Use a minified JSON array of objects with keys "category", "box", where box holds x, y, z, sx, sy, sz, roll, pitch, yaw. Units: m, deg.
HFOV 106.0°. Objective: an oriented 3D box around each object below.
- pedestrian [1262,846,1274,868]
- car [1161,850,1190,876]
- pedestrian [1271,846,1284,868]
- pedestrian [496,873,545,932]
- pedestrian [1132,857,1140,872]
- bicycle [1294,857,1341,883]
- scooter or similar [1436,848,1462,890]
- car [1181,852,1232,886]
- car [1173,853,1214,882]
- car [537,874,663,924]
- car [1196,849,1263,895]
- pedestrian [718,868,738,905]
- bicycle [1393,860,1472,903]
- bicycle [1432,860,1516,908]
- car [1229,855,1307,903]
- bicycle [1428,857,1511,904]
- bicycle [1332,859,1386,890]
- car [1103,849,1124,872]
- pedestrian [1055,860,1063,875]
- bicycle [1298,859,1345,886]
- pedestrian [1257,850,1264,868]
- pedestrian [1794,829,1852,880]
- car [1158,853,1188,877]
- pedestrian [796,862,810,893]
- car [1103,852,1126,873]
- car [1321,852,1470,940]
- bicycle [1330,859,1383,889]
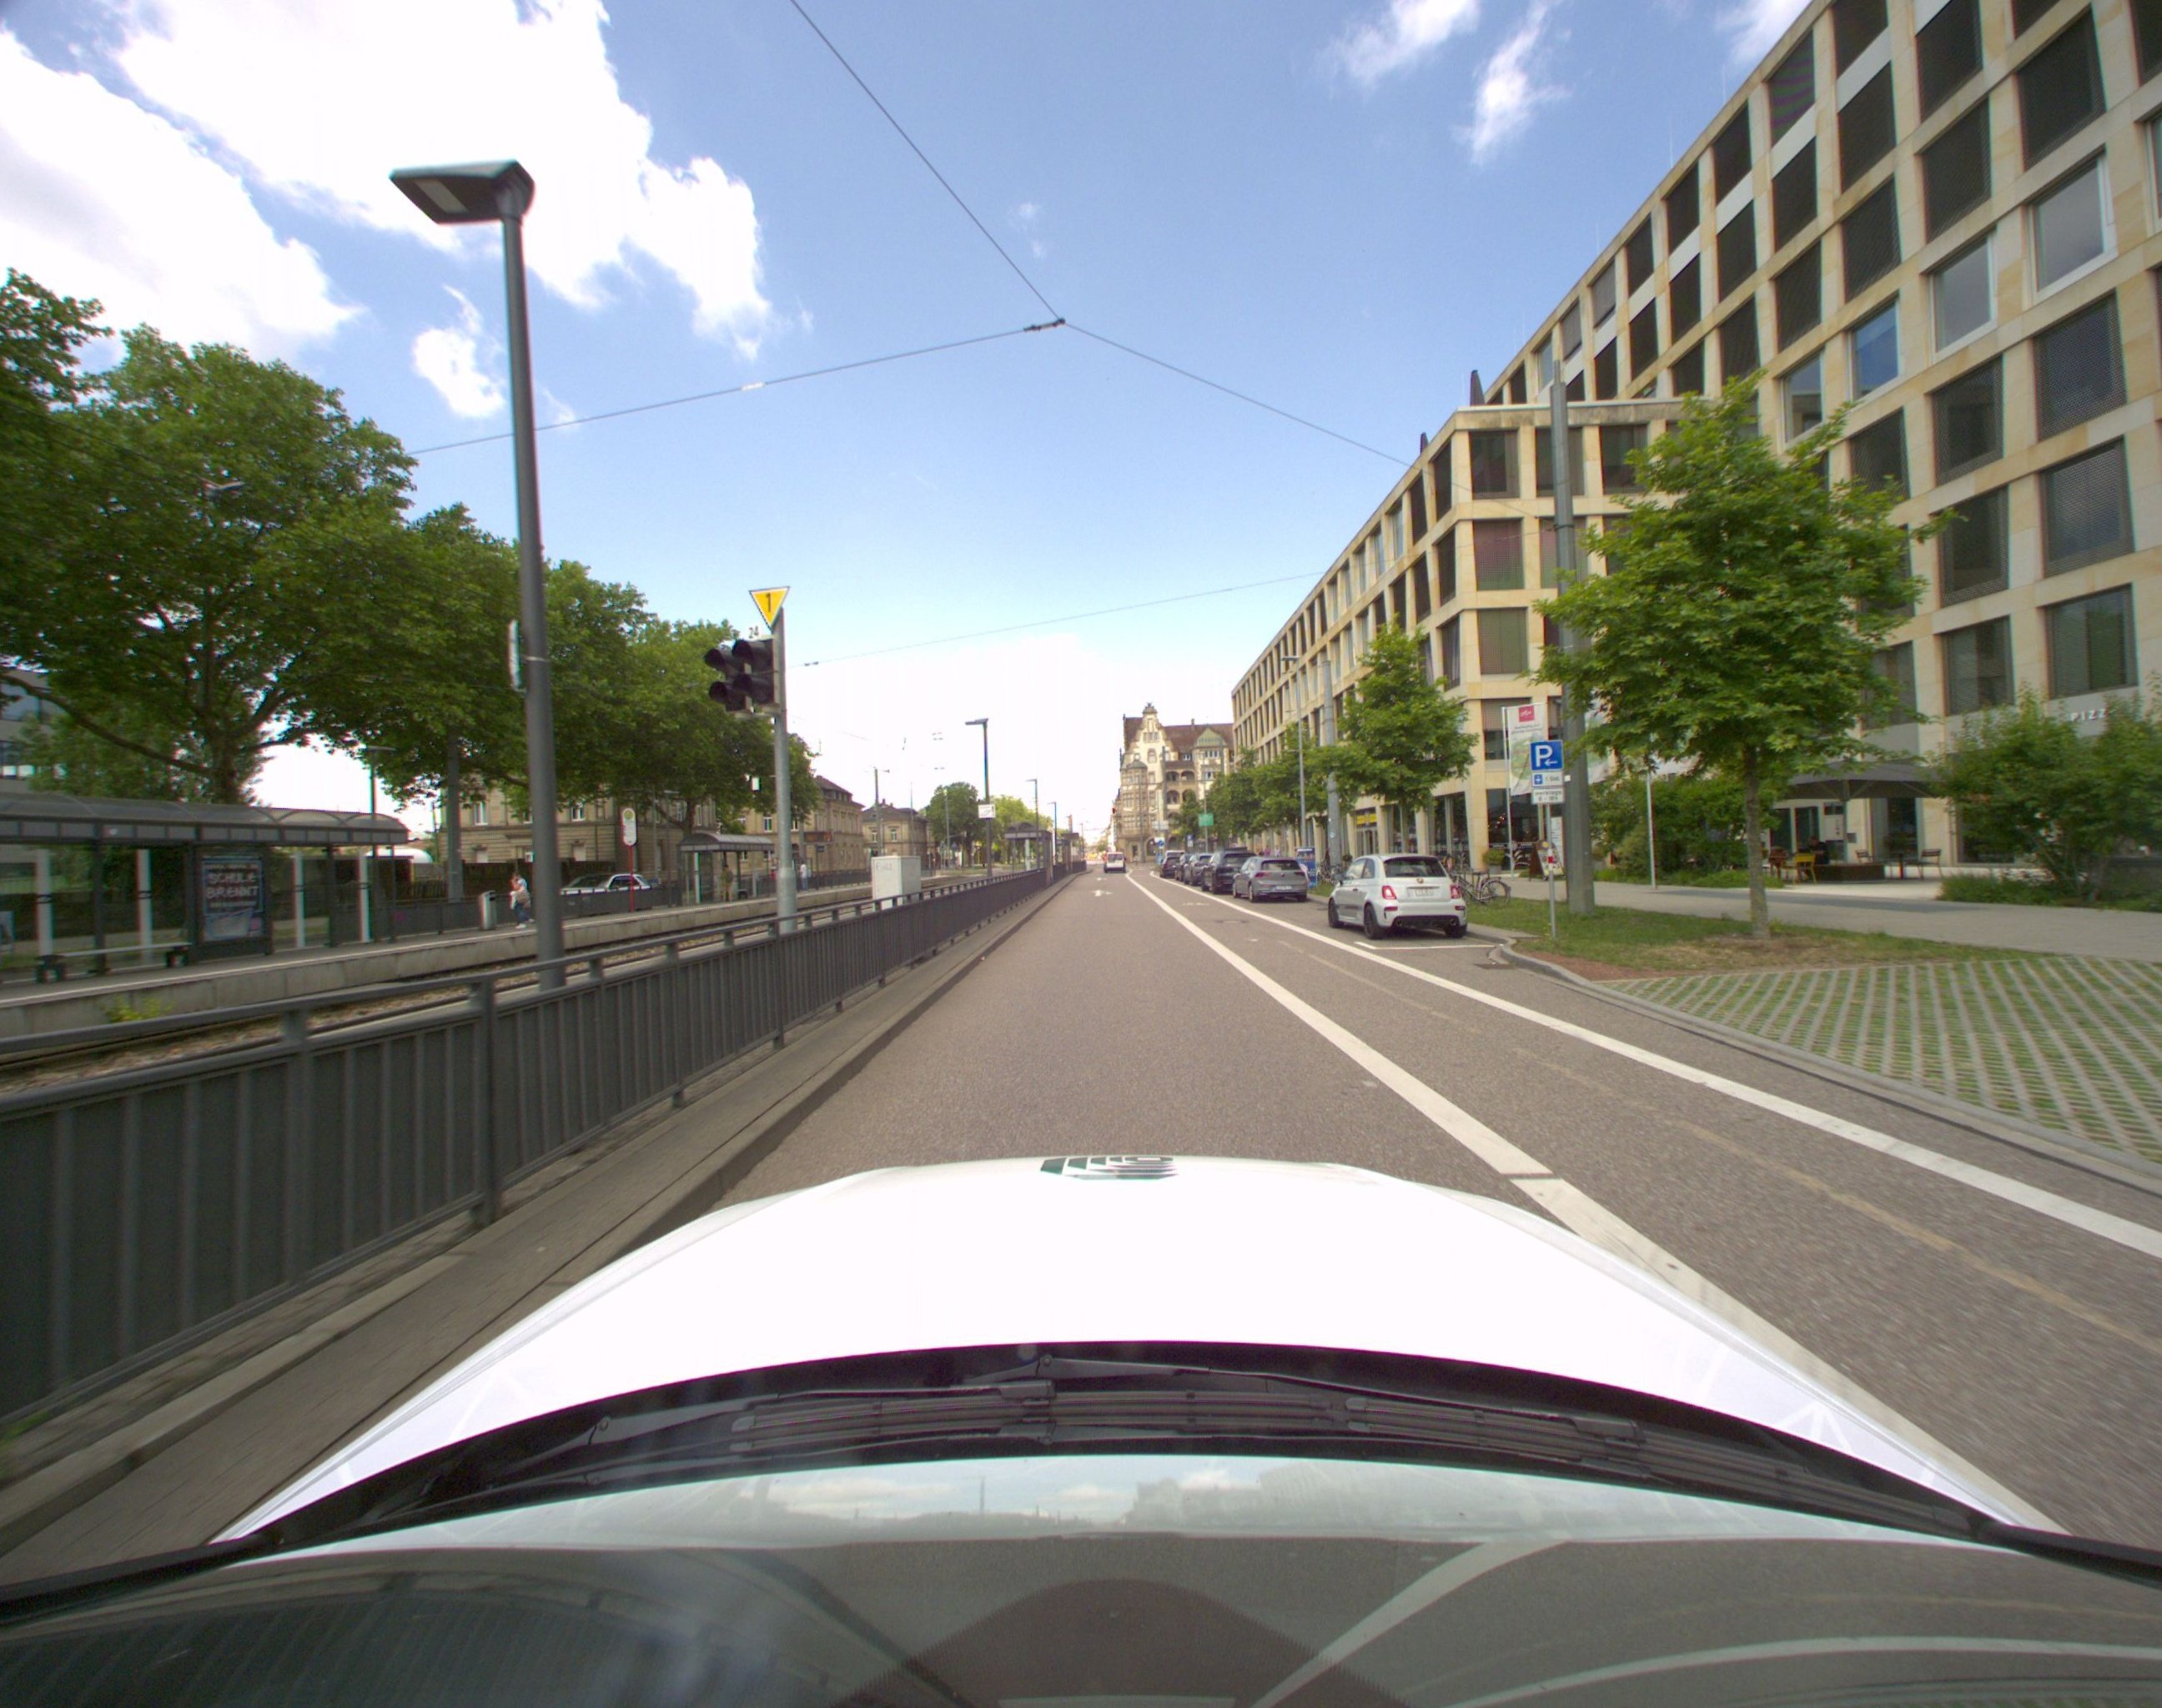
[{"category":"pedestrian","box":[14.738,0.228,64.189,0.757,1.723,0.659,-2,0,0]},{"category":"car","box":[6.717,0.596,58.235,1.704,1.796,3.361,-1,0,0]},{"category":"pedestrian","box":[15.500,0.232,64.190,0.757,1.670,0.659,-2,0,0]},{"category":"pedestrian","box":[-15.096,1.288,21.964,0.700,1.512,0.802,-3,0,-3]},{"category":"pedestrian","box":[5.989,1.115,88.673,0.803,1.572,0.629,-4,-1,0]},{"category":"bicycle","box":[10.109,0.696,34.780,1.815,1.030,0.585,-3,-1,4]},{"category":"scooter or similar","box":[10.999,0.448,24.352,0.257,1.215,1.015,-2,0,1]},{"category":"car","box":[6.168,0.700,40.520,1.801,1.592,4.839,-1,0,0]},{"category":"car","box":[6.456,0.746,47.161,1.801,1.592,4.306,-1,0,1]},{"category":"car","box":[-18.996,1.722,32.472,1.986,1.705,4.821,-2,-1,1]},{"category":"car","box":[5.779,0.668,32.243,1.732,1.669,4.839,-1,0,0]},{"category":"pedestrian","box":[-15.295,1.409,35.312,0.498,1.558,0.643,-2,0,1]},{"category":"bicycle","box":[9.562,0.734,22.184,1.815,1.076,0.687,-3,-1,5]},{"category":"bicycle","box":[9.505,0.720,19.720,1.815,1.076,0.275,-3,-1,5]},{"category":"car","box":[6.029,0.752,26.637,1.586,1.434,4.106,-1,0,0]},{"category":"bicycle","box":[9.534,0.652,20.017,1.815,1.076,0.275,-3,-1,5]},{"category":"bicycle","box":[9.845,0.724,28.829,1.746,0.986,0.326,-3,-1,0]},{"category":"car","box":[3.108,0.613,78.045,1.862,2.020,4.001,-1,0,1]},{"category":"pedestrian","box":[-1.678,1.006,61.441,0.511,1.140,0.501,-4,-1,1]},{"category":"bicycle","box":[10.029,0.770,33.984,1.815,1.030,0.433,-3,-1,4]},{"category":"pedestrian","box":[14.136,0.384,64.140,0.437,1.448,0.434,-2,0,1]},{"category":"pedestrian","box":[20.963,0.029,23.020,0.772,1.362,0.868,-4,-1,1]},{"category":"car","box":[5.977,0.697,53.102,1.438,1.470,4.091,-1,0,0]},{"category":"pedestrian","box":[-15.808,1.325,46.287,0.498,1.683,0.643,-3,0,1]},{"category":"car","box":[2.936,0.763,71.431,1.862,1.746,4.001,-1,0,1]},{"category":"car","box":[5.822,0.702,15.515,1.585,1.460,3.615,-1,0,3]},{"category":"bicycle","box":[9.850,0.725,29.177,1.746,0.986,0.326,-3,-1,0]}]
